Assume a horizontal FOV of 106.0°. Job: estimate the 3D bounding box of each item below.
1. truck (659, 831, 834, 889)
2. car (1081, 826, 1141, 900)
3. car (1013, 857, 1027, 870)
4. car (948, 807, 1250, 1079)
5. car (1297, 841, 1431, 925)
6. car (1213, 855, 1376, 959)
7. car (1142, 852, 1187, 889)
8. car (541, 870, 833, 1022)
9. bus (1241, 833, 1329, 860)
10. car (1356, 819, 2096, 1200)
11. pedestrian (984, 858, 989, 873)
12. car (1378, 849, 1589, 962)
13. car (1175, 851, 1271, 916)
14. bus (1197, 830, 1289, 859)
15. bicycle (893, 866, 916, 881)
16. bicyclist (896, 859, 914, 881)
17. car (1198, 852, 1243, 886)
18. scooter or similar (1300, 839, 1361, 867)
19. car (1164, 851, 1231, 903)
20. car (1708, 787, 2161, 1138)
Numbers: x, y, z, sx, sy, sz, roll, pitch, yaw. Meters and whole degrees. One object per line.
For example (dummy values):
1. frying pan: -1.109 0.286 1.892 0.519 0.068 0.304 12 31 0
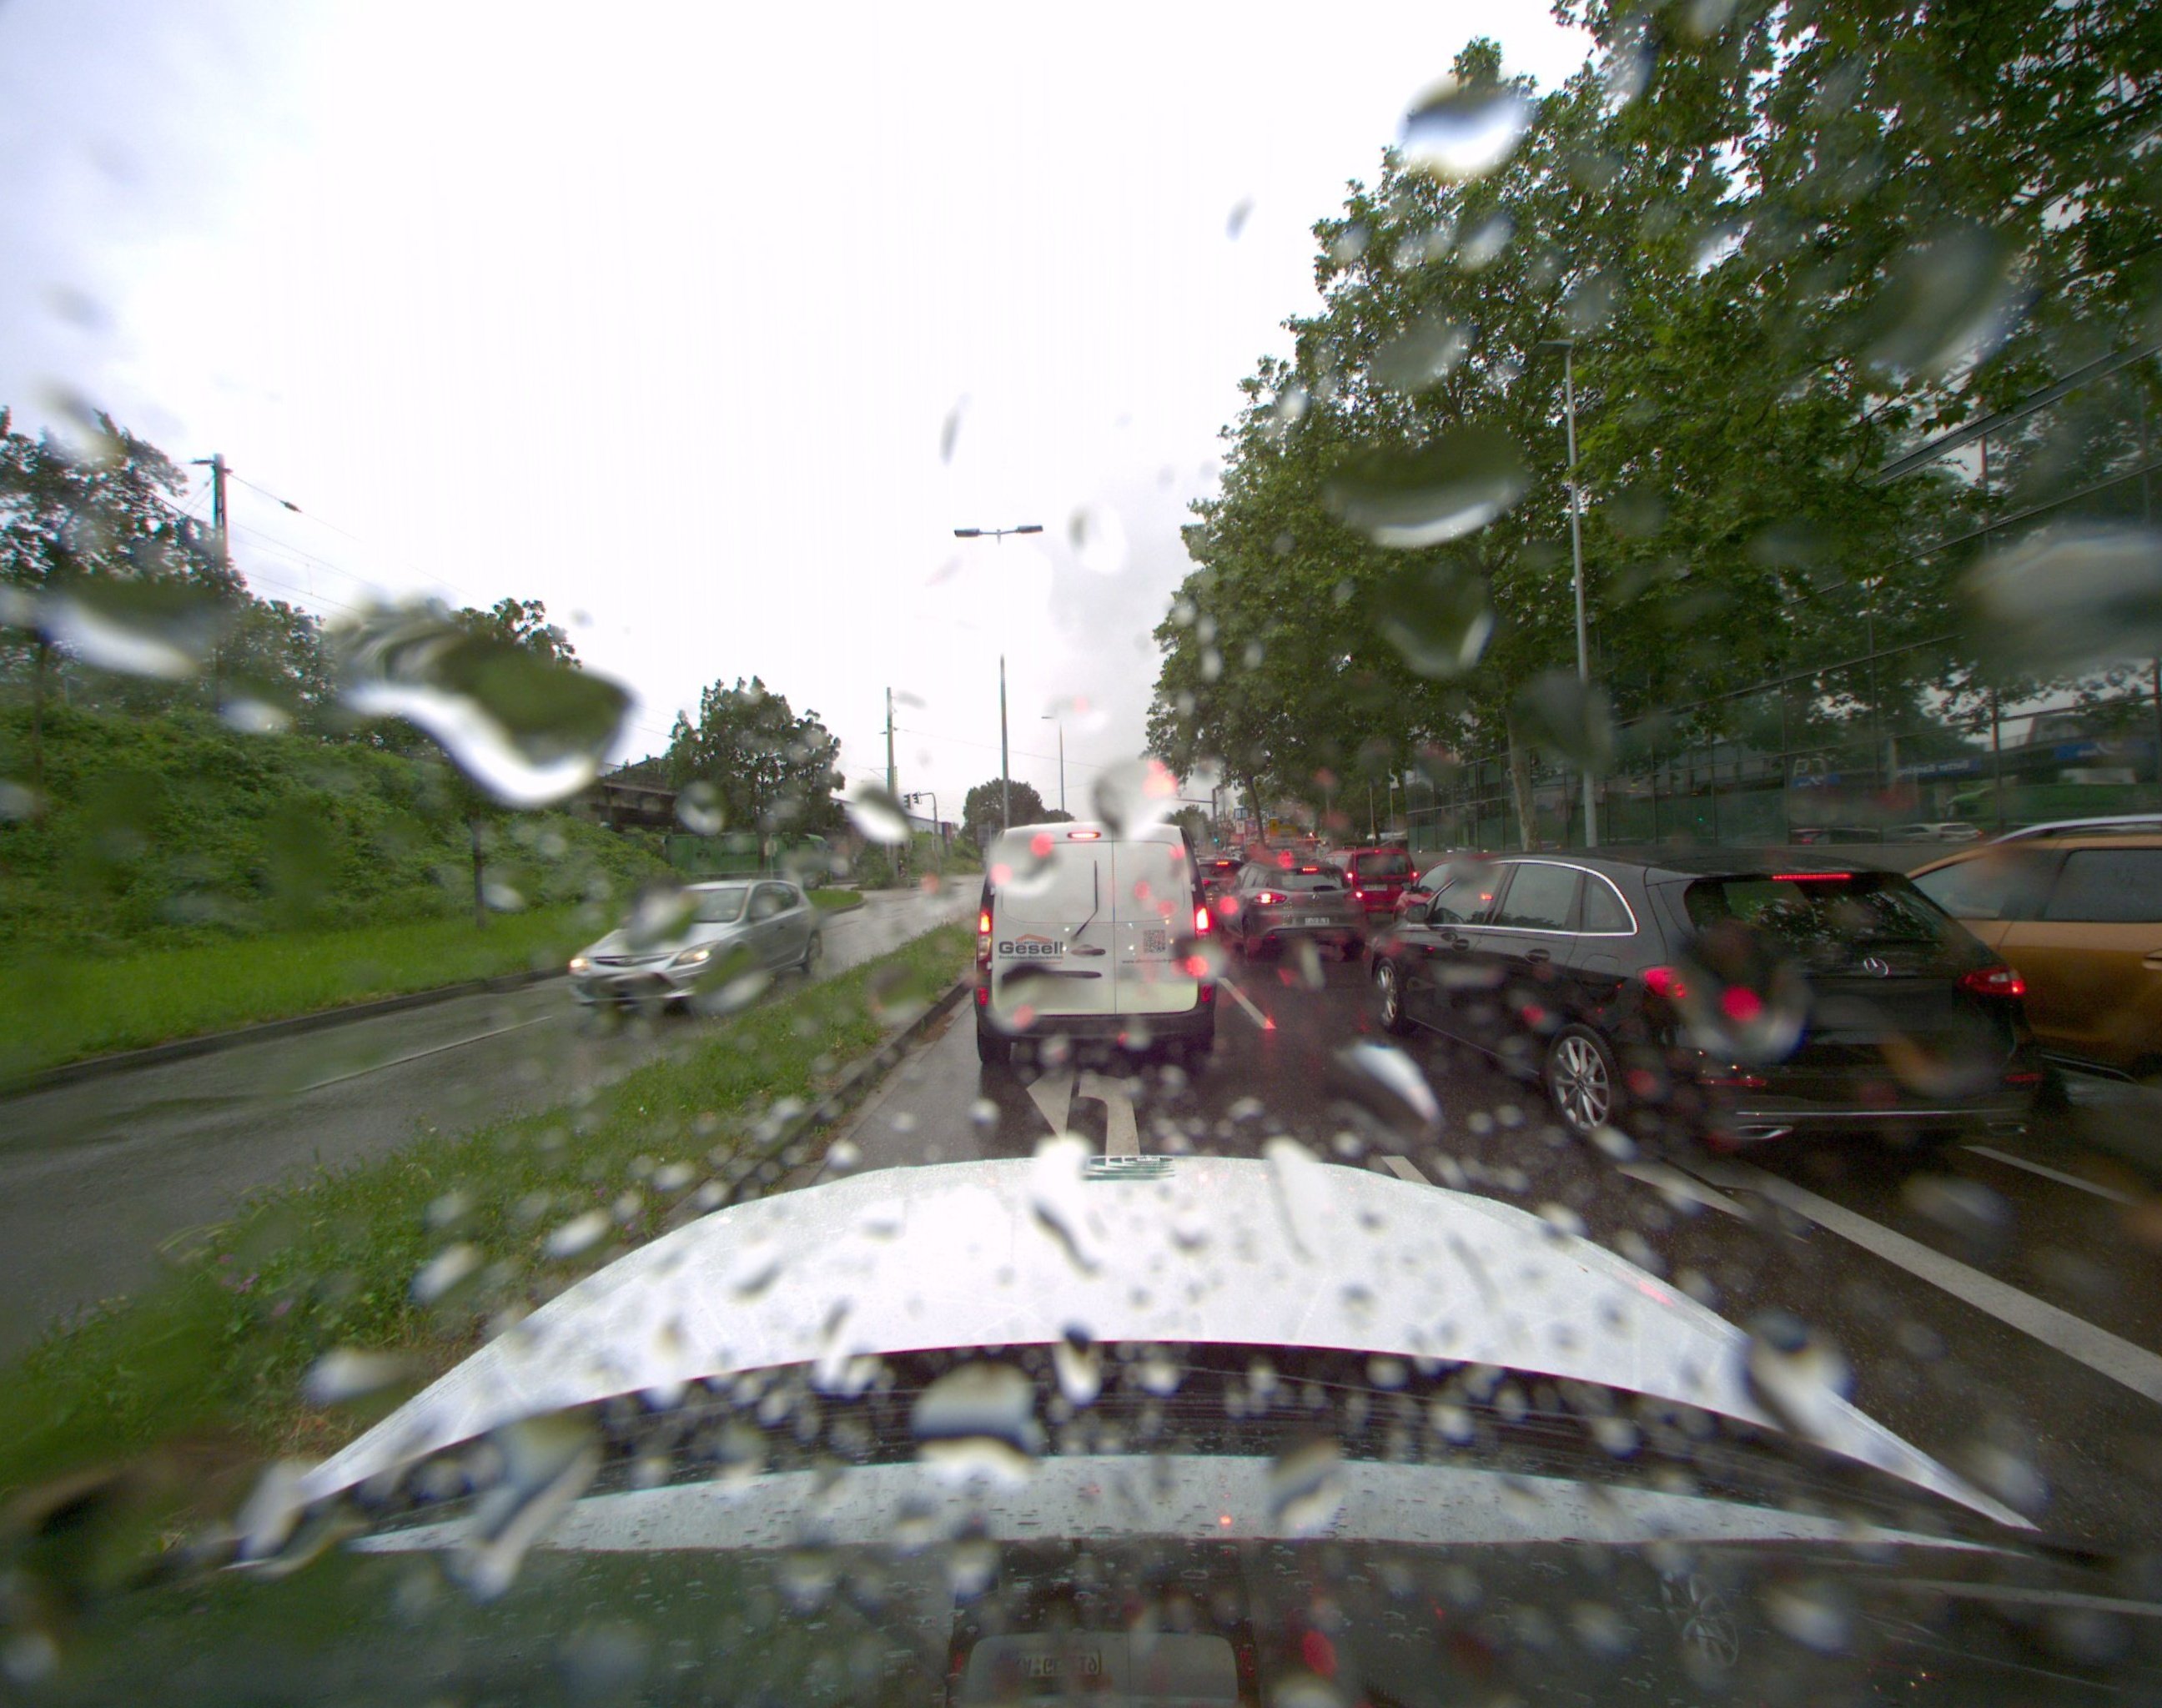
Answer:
1. truck: -21.266 0.297 52.344 10.105 3.371 2.322 -2 0 -35
2. car: 1.002 0.272 27.547 1.847 2.296 3.844 -1 0 2
3. car: -7.976 1.189 106.754 1.463 1.559 3.508 -2 0 1
4. car: 0.193 0.592 7.762 1.986 1.776 4.587 -1 0 2
5. car: 6.308 0.619 18.668 1.704 1.694 4.273 0 -1 2
6. car: 3.256 0.733 13.151 1.677 1.408 3.844 0 0 1
7. car: 3.926 0.765 38.975 1.847 1.650 3.844 -1 -1 2
8. car: -4.925 1.046 10.913 1.810 1.462 4.001 -4 0 1
9. bus: 28.881 -1.059 115.279 11.964 3.423 2.476 -2 0 -8
10. car: 3.376 0.649 5.439 1.741 1.554 4.091 -1 0 1
11. pedestrian: -11.247 1.370 96.520 0.541 1.716 0.563 0 -1 -2
12. car: 5.902 0.679 12.400 1.563 1.462 3.390 -1 0 1
13. car: 3.500 0.677 20.672 1.847 1.460 3.844 -1 0 2
14. bus: 21.884 -1.349 110.582 11.926 3.423 2.316 -2 0 1
15. bicycle: -12.145 1.336 56.006 1.045 0.952 2.866 -2 0 -22
16. bicyclist: -12.113 1.089 55.912 1.045 1.450 0.723 -2 0 -23
17. car: 6.985 0.733 41.119 1.702 1.650 3.844 -1 -1 2
18. scooter or similar: 23.444 -0.077 76.677 1.905 2.446 5.257 -1 0 -39
19. car: 3.924 0.734 28.082 1.847 1.649 3.844 -1 0 2
20. car: 6.056 0.518 4.777 1.668 1.685 4.149 0 1 2
